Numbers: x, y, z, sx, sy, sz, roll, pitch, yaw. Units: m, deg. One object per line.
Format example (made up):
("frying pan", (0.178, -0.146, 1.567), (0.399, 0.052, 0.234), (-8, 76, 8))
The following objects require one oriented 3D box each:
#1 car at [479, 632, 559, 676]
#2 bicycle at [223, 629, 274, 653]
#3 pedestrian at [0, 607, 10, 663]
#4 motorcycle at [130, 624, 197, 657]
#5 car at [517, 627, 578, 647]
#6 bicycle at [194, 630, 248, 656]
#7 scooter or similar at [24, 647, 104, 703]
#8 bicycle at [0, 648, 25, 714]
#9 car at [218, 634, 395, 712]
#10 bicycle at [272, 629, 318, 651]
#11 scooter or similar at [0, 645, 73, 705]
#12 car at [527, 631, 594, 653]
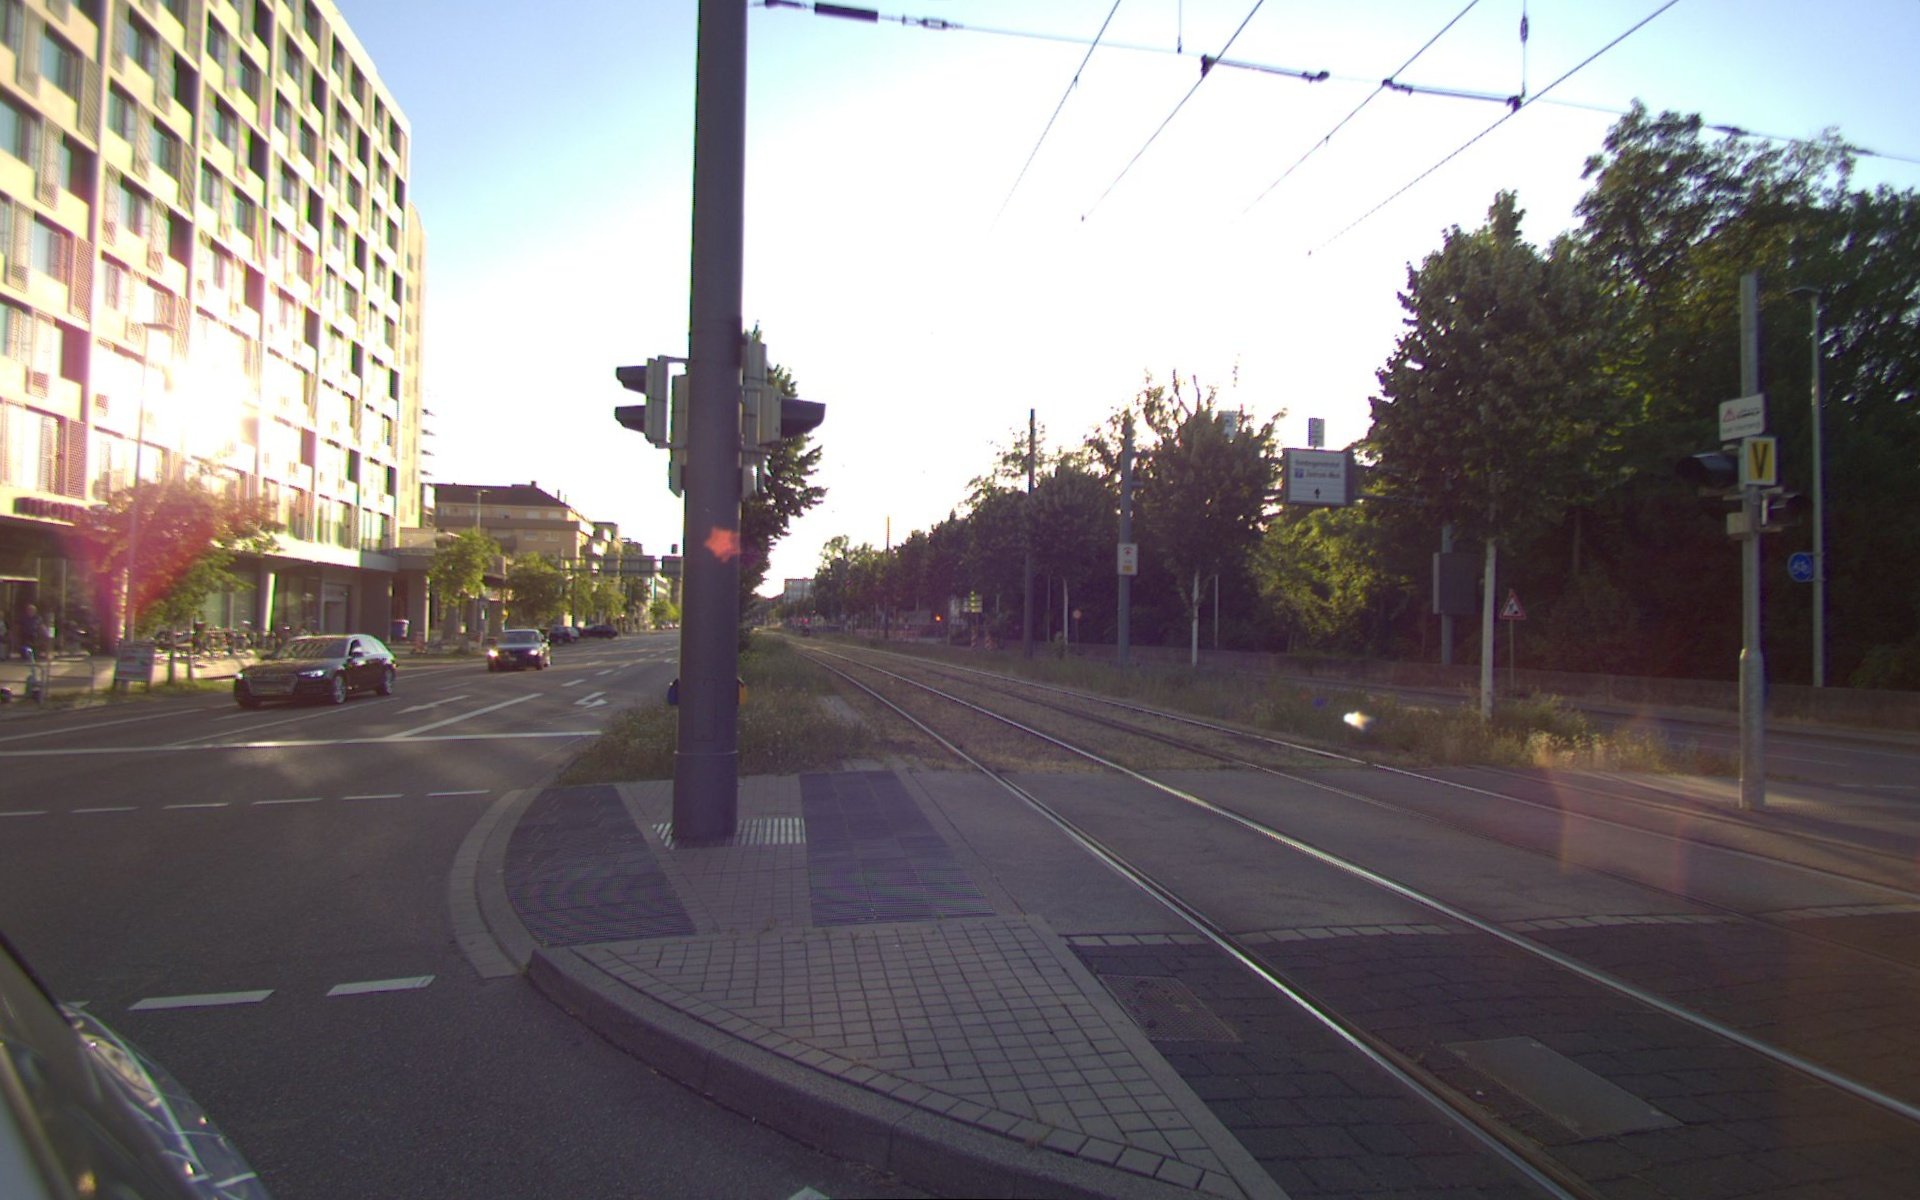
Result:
("car", (-16.073, 1.912, 37.121), (1.987, 1.452, 4.814), (0, -1, -15))
("bicycle", (-31.253, 1.813, 44.462), (1.763, 1.028, 0.422), (2, -2, -16))
("pedestrian", (-29.028, 1.043, 30.379), (0.423, 1.669, 0.517), (4, -3, -11))
("motorcycle", (-29.950, 1.538, 38.088), (1.865, 1.180, 0.517), (3, -3, -27))
("car", (-32.976, 2.970, 80.981), (1.823, 1.446, 4.077), (1, -3, 39))
("bicycle", (-30.542, 1.768, 41.828), (1.718, 1.028, 0.422), (2, -2, -16))
("scooter or similar", (-18.884, 1.575, 21.341), (1.166, 1.065, 0.339), (6, -1, -11))
("bicycle", (-18.667, 1.473, 18.767), (1.883, 1.208, 0.444), (3, -2, -15))
("car", (-13.816, 1.482, 21.712), (1.860, 1.451, 4.234), (0, -2, -13))
("bicycle", (-31.795, 1.931, 48.436), (1.763, 1.028, 0.422), (2, -2, -16))
("scooter or similar", (-18.649, 1.505, 20.360), (1.166, 1.172, 0.339), (1, -2, -11))
("car", (-30.131, 3.169, 76.397), (2.006, 1.602, 4.231), (-1, -3, 38))
